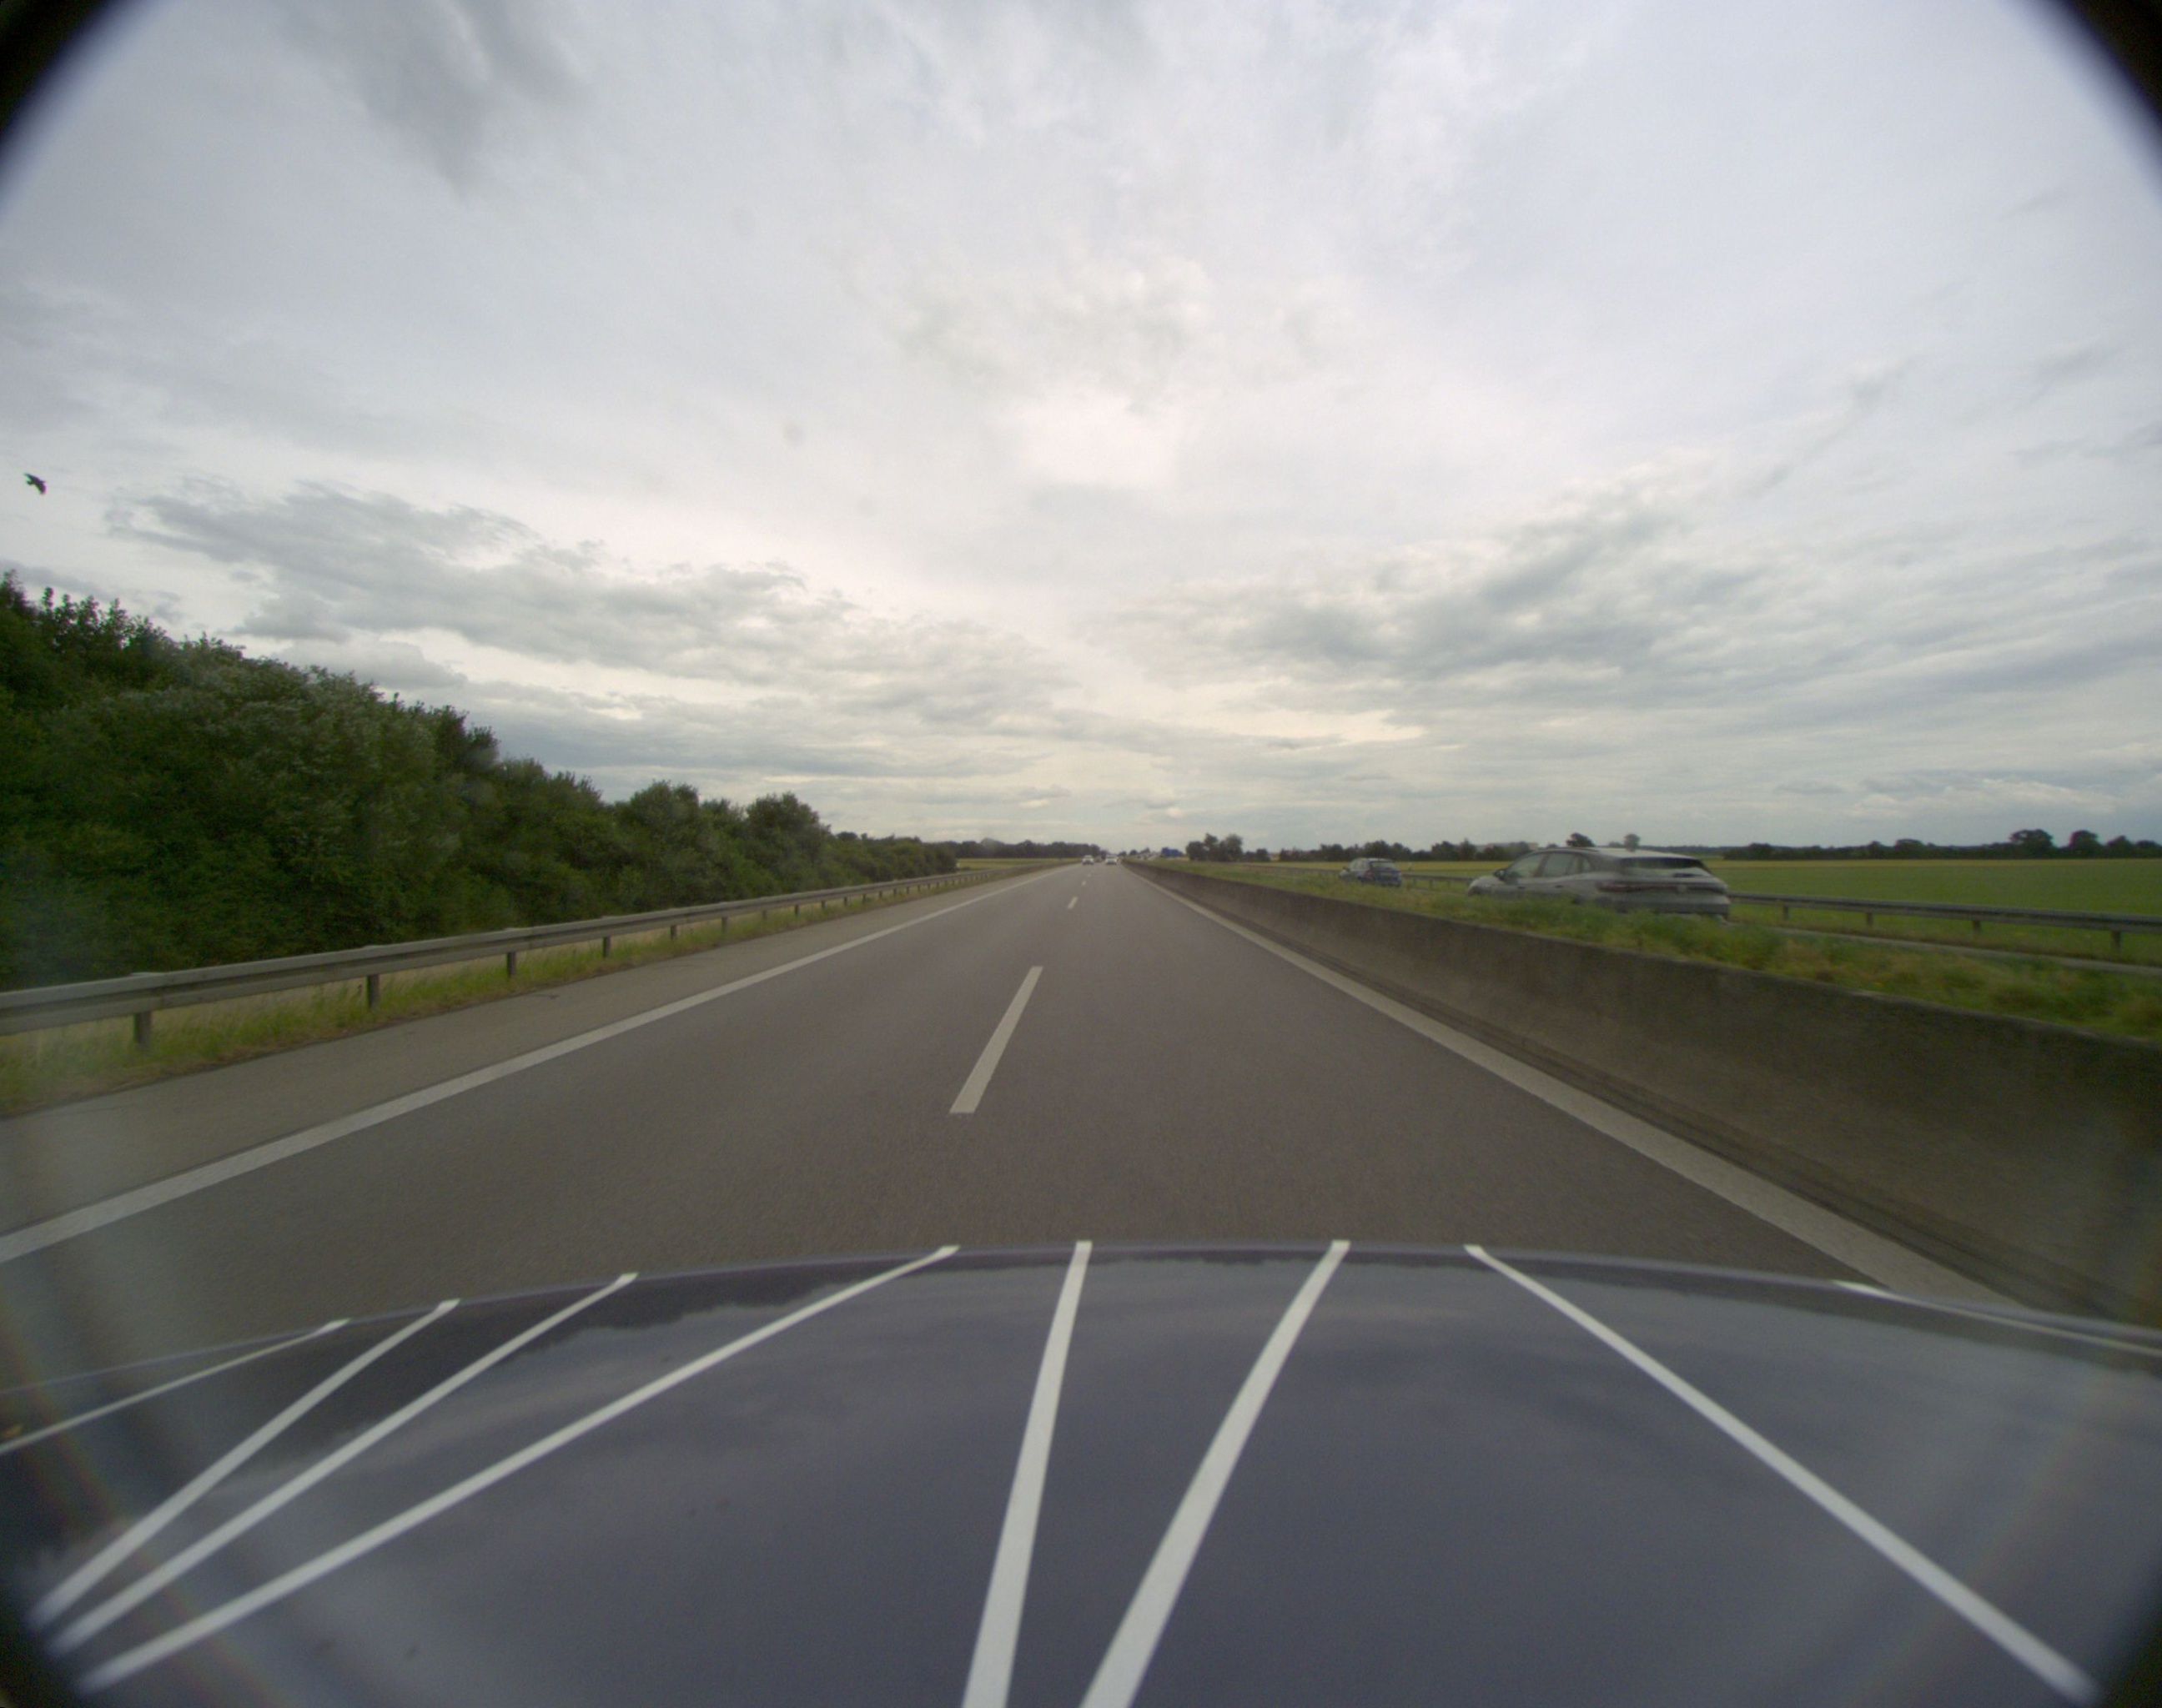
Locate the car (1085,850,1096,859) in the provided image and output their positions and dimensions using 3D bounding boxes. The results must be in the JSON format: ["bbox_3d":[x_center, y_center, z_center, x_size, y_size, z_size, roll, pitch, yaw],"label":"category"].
[{"bbox_3d":[1.787,0.132,135.939,1.916,1.553,4.288,-1,1,1],"label":"car"}]

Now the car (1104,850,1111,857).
[{"bbox_3d":[8.622,-0.103,247.912,1.915,2.248,5.314,-1,1,4],"label":"car"}]

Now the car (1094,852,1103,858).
[{"bbox_3d":[4.168,0.235,179.823,1.916,1.553,4.288,-1,1,1],"label":"car"}]

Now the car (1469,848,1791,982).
[{"bbox_3d":[8.067,0.756,11.806,1.845,1.684,4.358,1,1,0],"label":"car"}]

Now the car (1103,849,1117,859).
[{"bbox_3d":[4.846,0.043,126.521,1.916,1.553,4.286,-1,1,-3],"label":"car"}]

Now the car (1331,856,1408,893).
[{"bbox_3d":[12.751,0.879,33.879,1.750,1.479,4.530,1,0,1],"label":"car"}]
